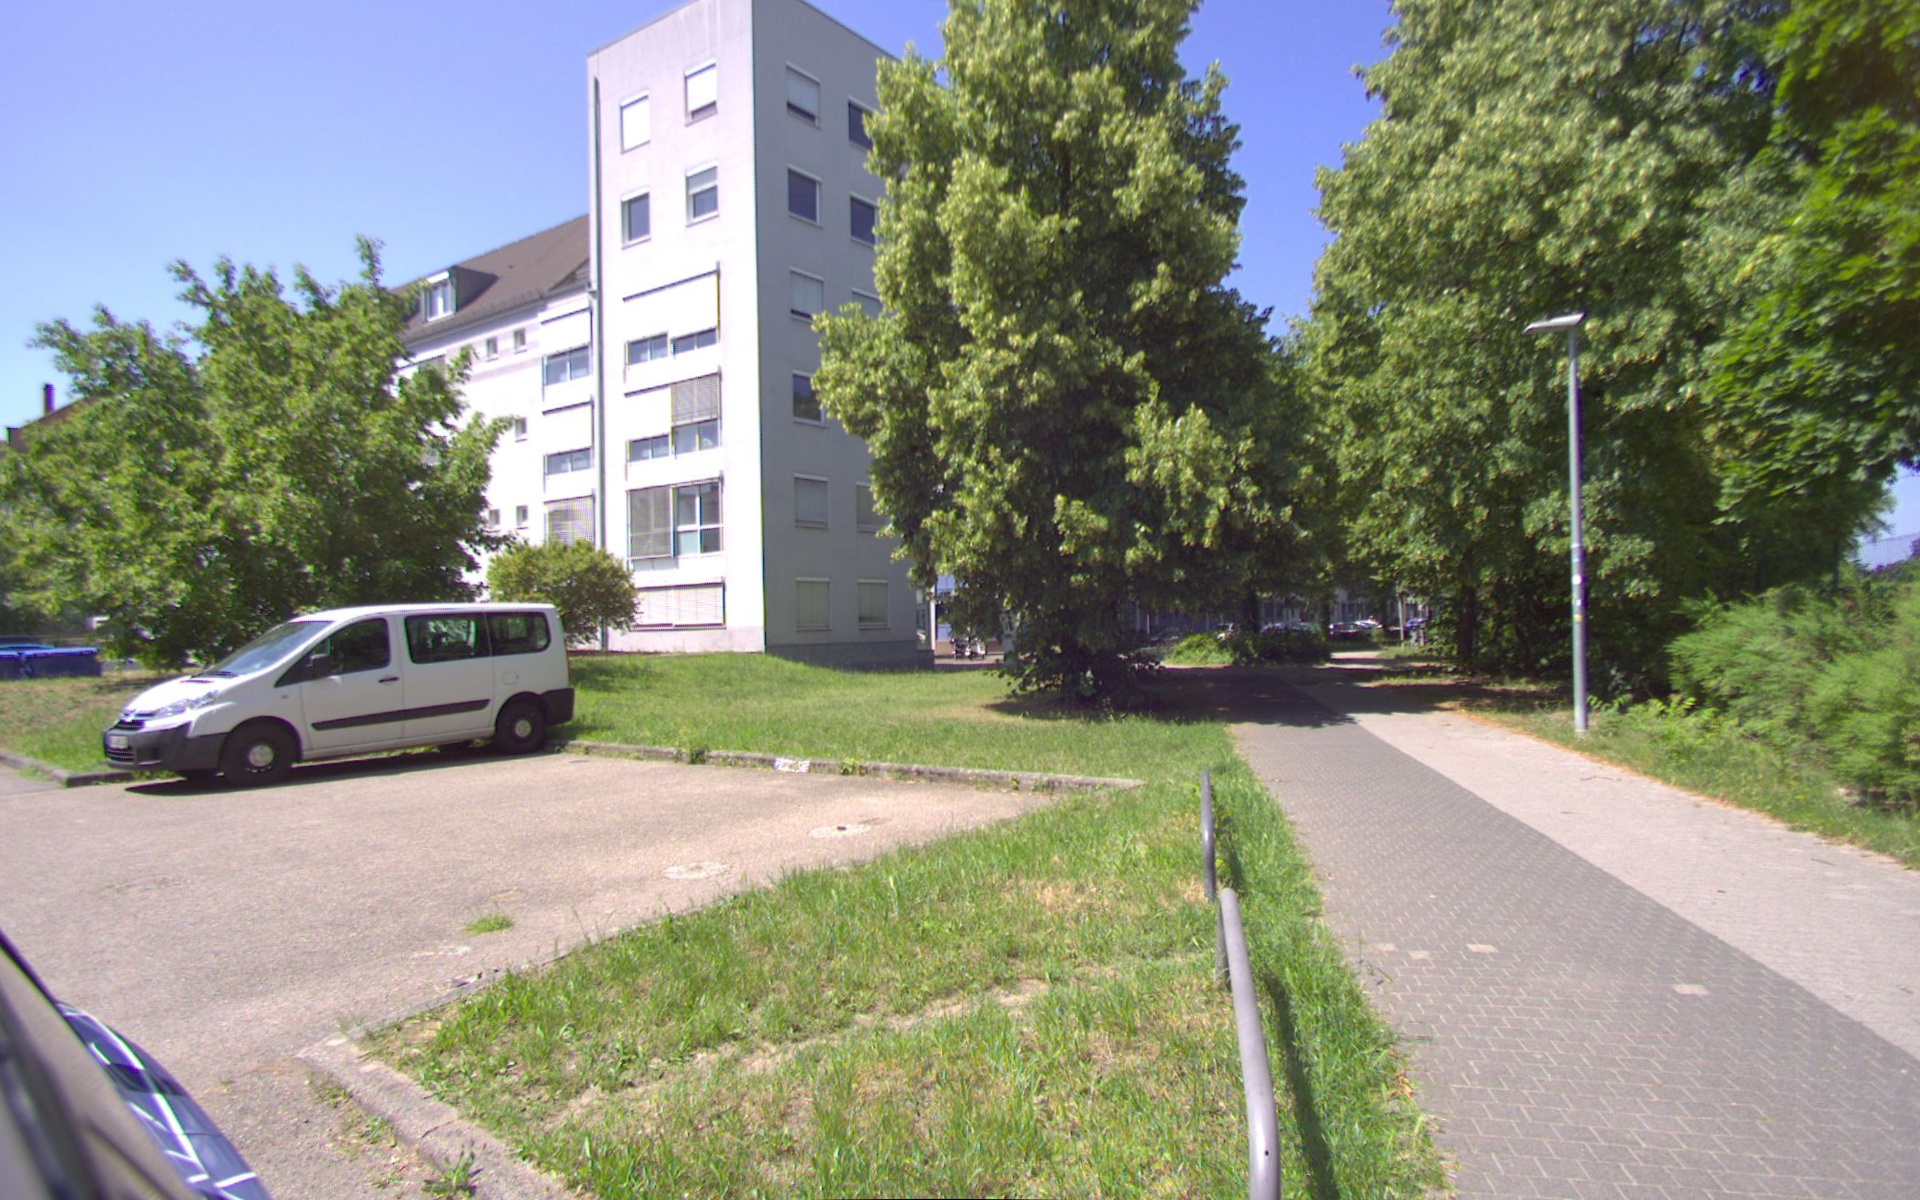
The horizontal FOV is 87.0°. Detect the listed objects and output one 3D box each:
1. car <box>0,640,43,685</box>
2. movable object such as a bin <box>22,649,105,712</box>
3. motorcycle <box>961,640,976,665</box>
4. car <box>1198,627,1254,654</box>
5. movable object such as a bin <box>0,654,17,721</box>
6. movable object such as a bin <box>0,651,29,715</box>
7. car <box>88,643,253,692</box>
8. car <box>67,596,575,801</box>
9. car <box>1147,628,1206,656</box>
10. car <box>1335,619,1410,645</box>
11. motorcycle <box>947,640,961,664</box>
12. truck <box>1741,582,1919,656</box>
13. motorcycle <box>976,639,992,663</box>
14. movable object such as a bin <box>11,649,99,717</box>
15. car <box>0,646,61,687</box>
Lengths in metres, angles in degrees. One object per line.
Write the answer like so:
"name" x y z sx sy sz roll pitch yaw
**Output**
"car" -41.402 2.665 42.208 1.996 1.846 4.397 -2 -1 36
"movable object such as a bin" -20.352 1.808 22.978 1.103 1.338 1.242 -3 -2 39
"motorcycle" 0.437 2.636 51.371 0.690 1.176 2.311 -1 -1 -1
"car" 16.931 2.576 64.343 1.974 1.630 4.116 -2 -2 39
"movable object such as a bin" -20.019 1.801 20.473 1.103 1.338 1.242 -3 -2 39
"movable object such as a bin" -21.127 1.810 21.937 1.103 1.338 1.242 -3 -2 39
"car" -25.870 2.180 33.287 1.707 1.447 3.952 -2 -3 35
"car" -7.290 1.021 12.096 1.995 1.926 4.748 -4 -3 34
"car" 13.564 2.613 63.362 1.974 1.630 4.116 -2 -2 39
"car" 21.274 1.650 52.239 3.480 1.254 1.738 -2 -2 25
"motorcycle" -0.325 2.621 51.249 0.690 1.176 2.303 -1 -1 -1
"truck" 25.321 0.553 29.065 4.456 2.009 1.973 -2 -1 41
"motorcycle" 1.196 2.582 51.403 0.690 1.176 2.332 -1 -1 -1
"movable object such as a bin" -19.215 1.749 21.504 1.103 1.338 1.242 -3 -2 39
"car" -39.180 2.718 40.757 1.855 1.565 4.121 -2 -2 34
